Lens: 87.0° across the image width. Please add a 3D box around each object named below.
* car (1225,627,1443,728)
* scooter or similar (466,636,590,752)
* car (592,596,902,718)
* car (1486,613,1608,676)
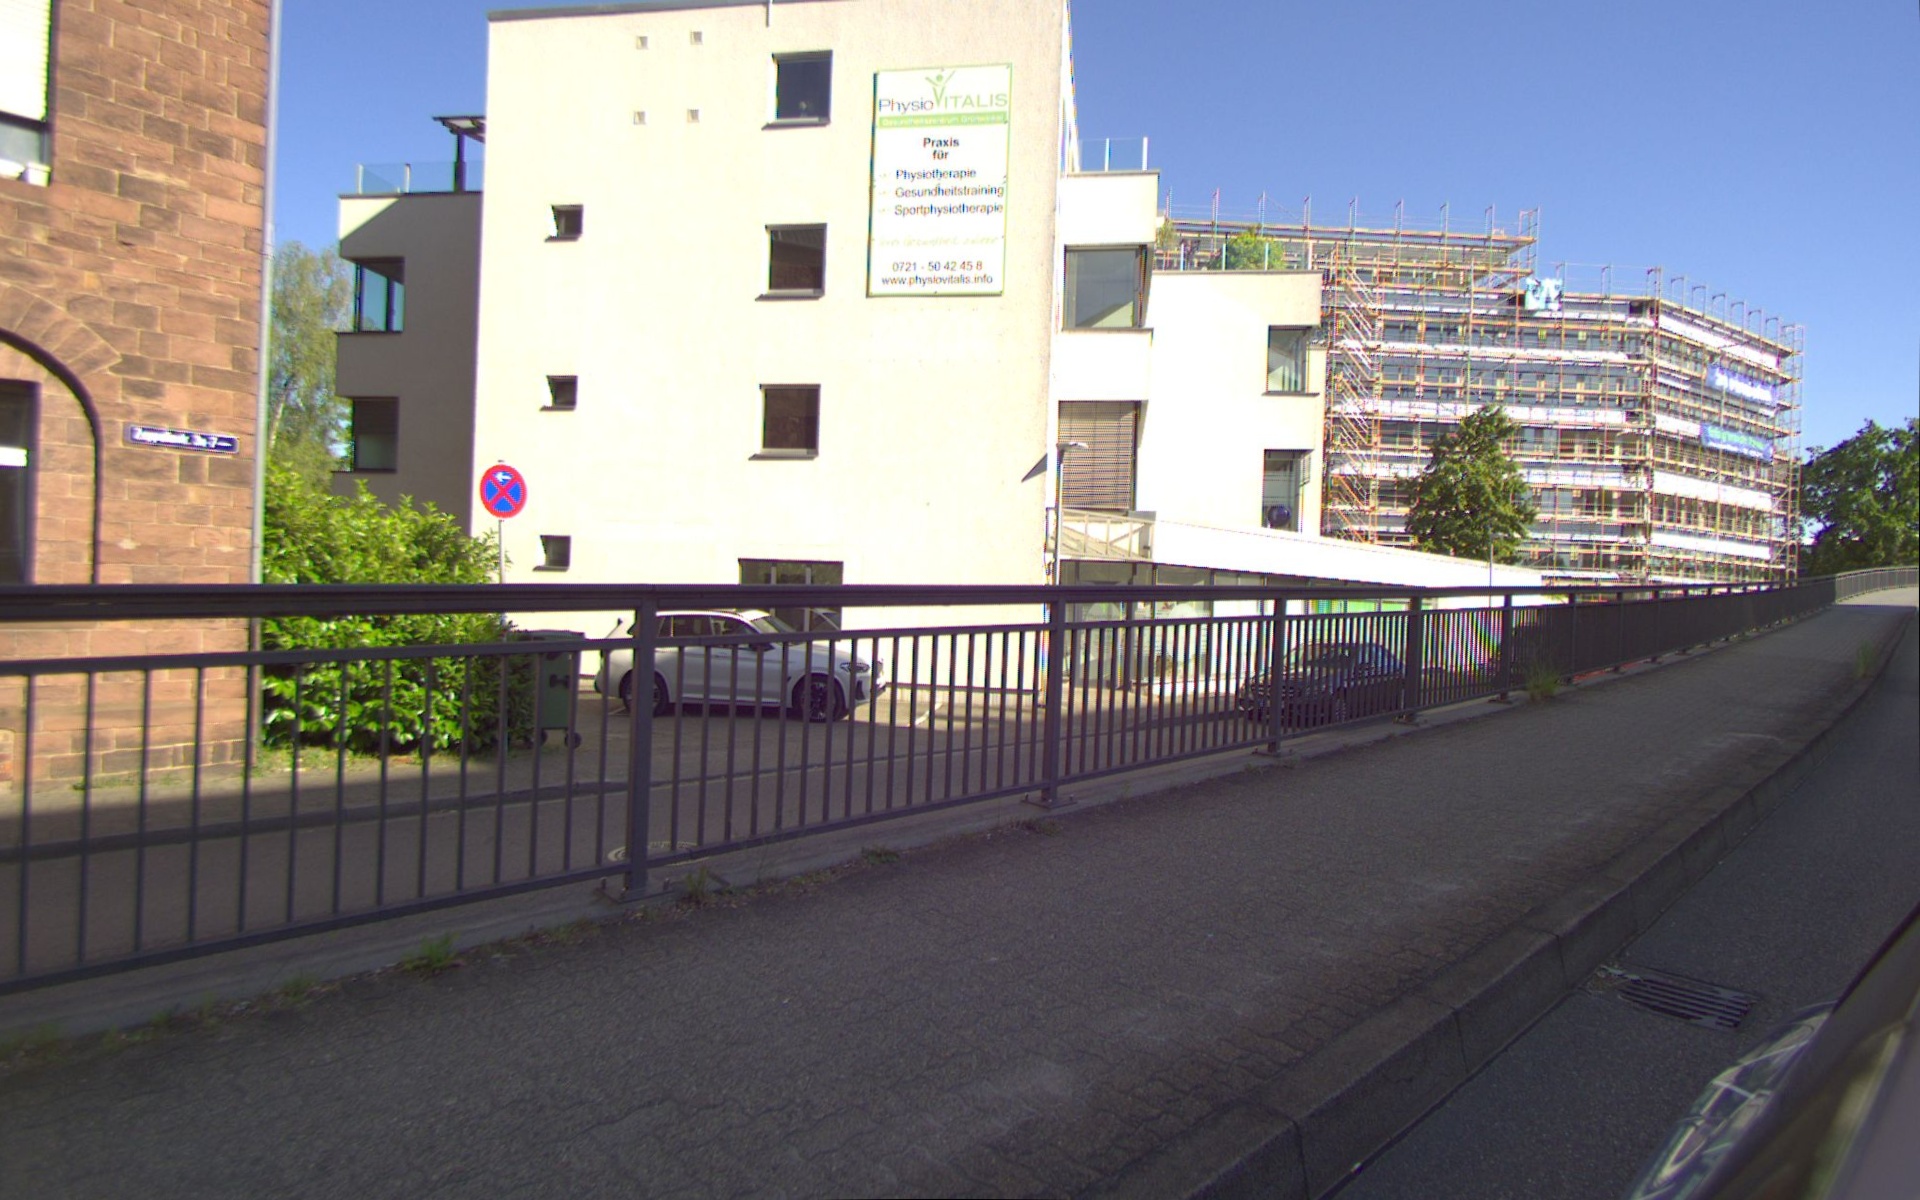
[{"bbox_3d":[7.039,1.338,18.824,4.601,1.448,1.848,-1,1,-41],"label":"car"},{"bbox_3d":[-5.047,1.051,11.795,1.456,1.235,0.773,-1,-2,42],"label":"scooter or similar"},{"bbox_3d":[-3.342,0.844,16.308,4.571,1.789,1.824,0,1,8],"label":"car"},{"bbox_3d":[16.670,1.207,28.656,3.931,1.554,1.847,1,1,-42],"label":"car"}]
